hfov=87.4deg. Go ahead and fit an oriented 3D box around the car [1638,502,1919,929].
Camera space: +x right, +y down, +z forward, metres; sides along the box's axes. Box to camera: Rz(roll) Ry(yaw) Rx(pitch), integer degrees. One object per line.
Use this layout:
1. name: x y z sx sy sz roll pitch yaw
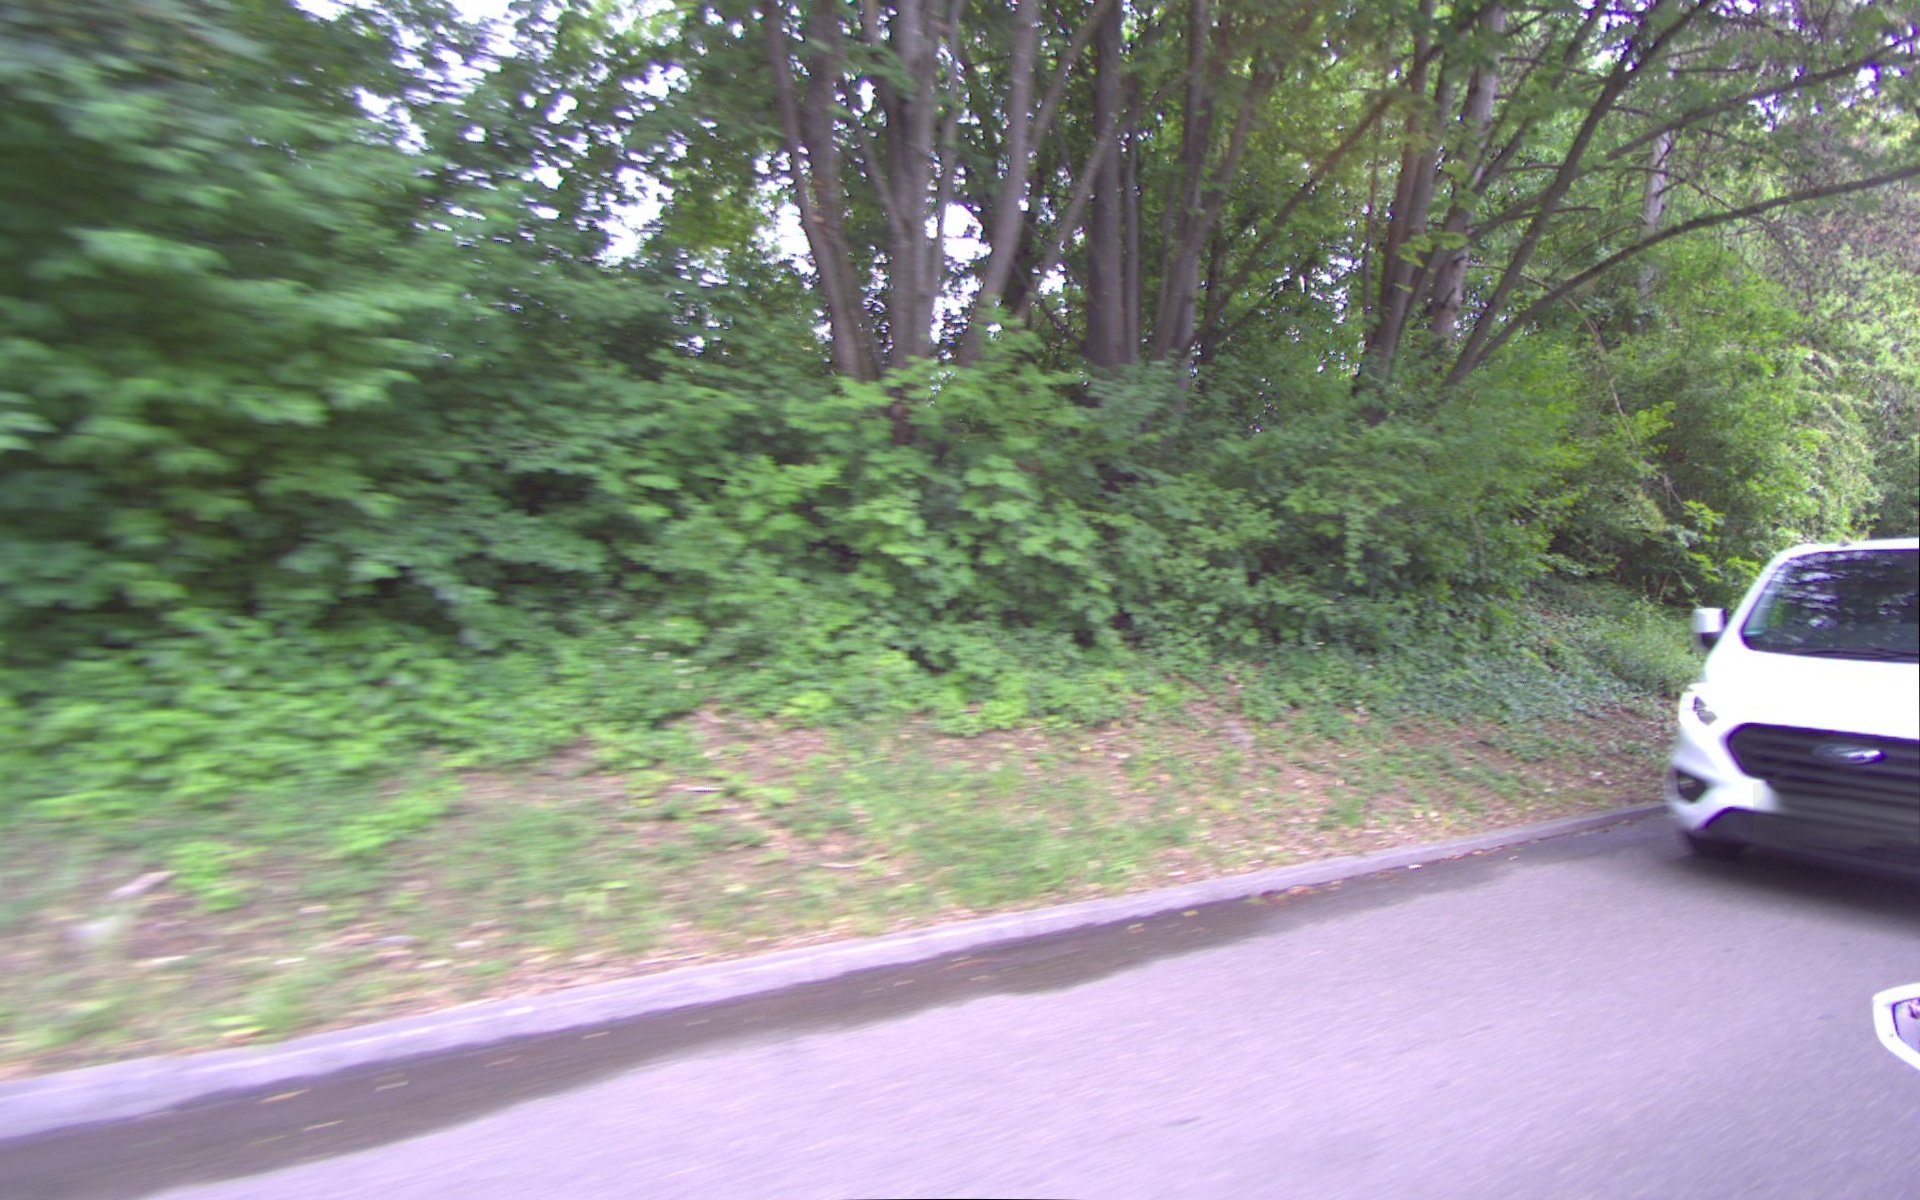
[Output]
1. car: 6.271 0.568 6.156 4.454 2.011 1.935 1 1 -34
